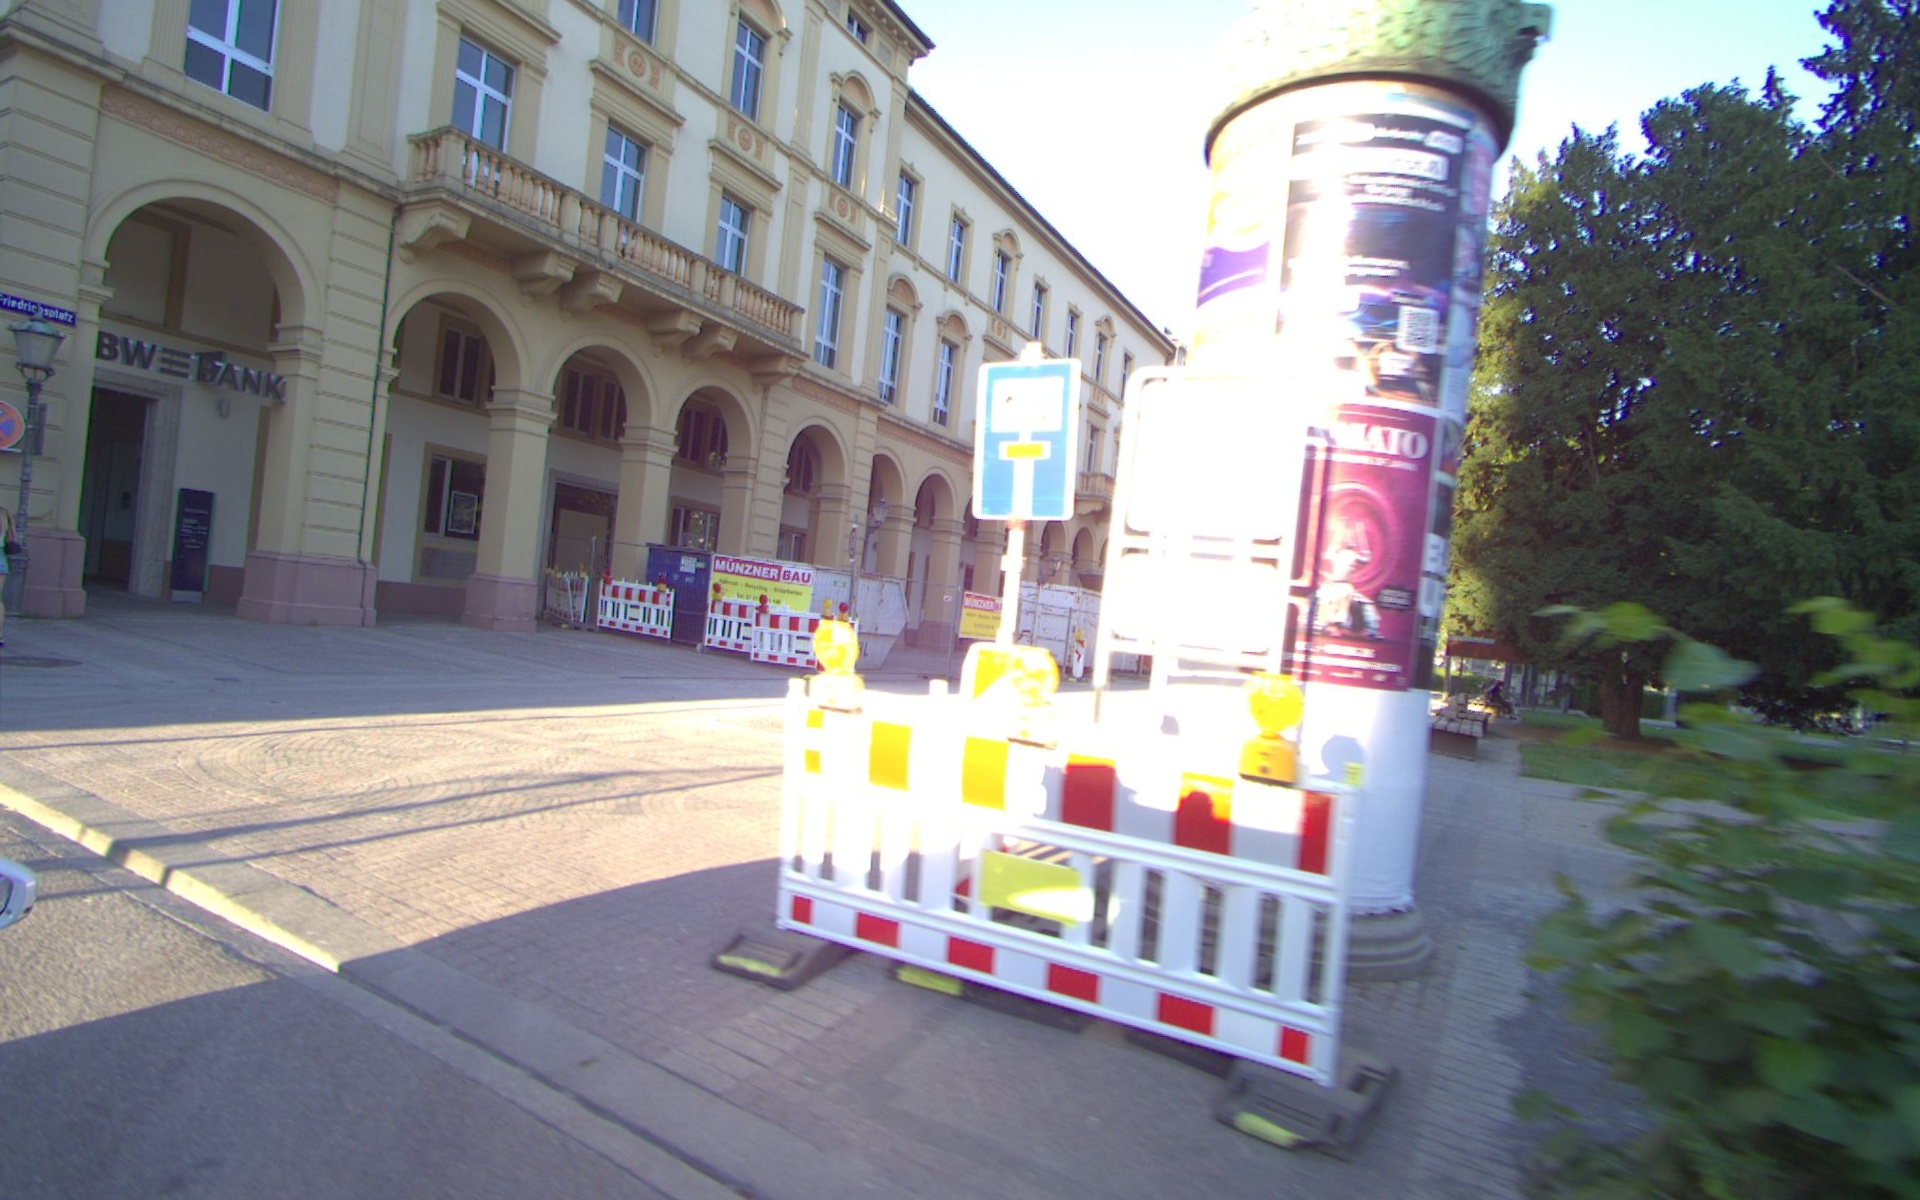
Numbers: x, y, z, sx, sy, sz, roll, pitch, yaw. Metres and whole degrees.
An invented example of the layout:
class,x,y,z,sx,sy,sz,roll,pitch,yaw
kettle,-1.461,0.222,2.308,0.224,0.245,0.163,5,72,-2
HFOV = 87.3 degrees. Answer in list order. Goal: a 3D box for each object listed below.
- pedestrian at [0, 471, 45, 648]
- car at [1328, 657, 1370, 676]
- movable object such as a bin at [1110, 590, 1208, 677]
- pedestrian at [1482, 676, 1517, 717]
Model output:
class,x,y,z,sx,sy,sz,roll,pitch,yaw
pedestrian,-10.229,-0.446,10.543,0.759,1.826,0.637,6,1,29
car,42.849,7.301,110.826,3.915,1.616,1.718,6,0,29
movable object such as a bin,7.858,1.368,39.385,1.967,3.045,4.893,6,0,31
pedestrian,18.534,3.298,34.548,0.910,1.267,0.709,6,0,26
